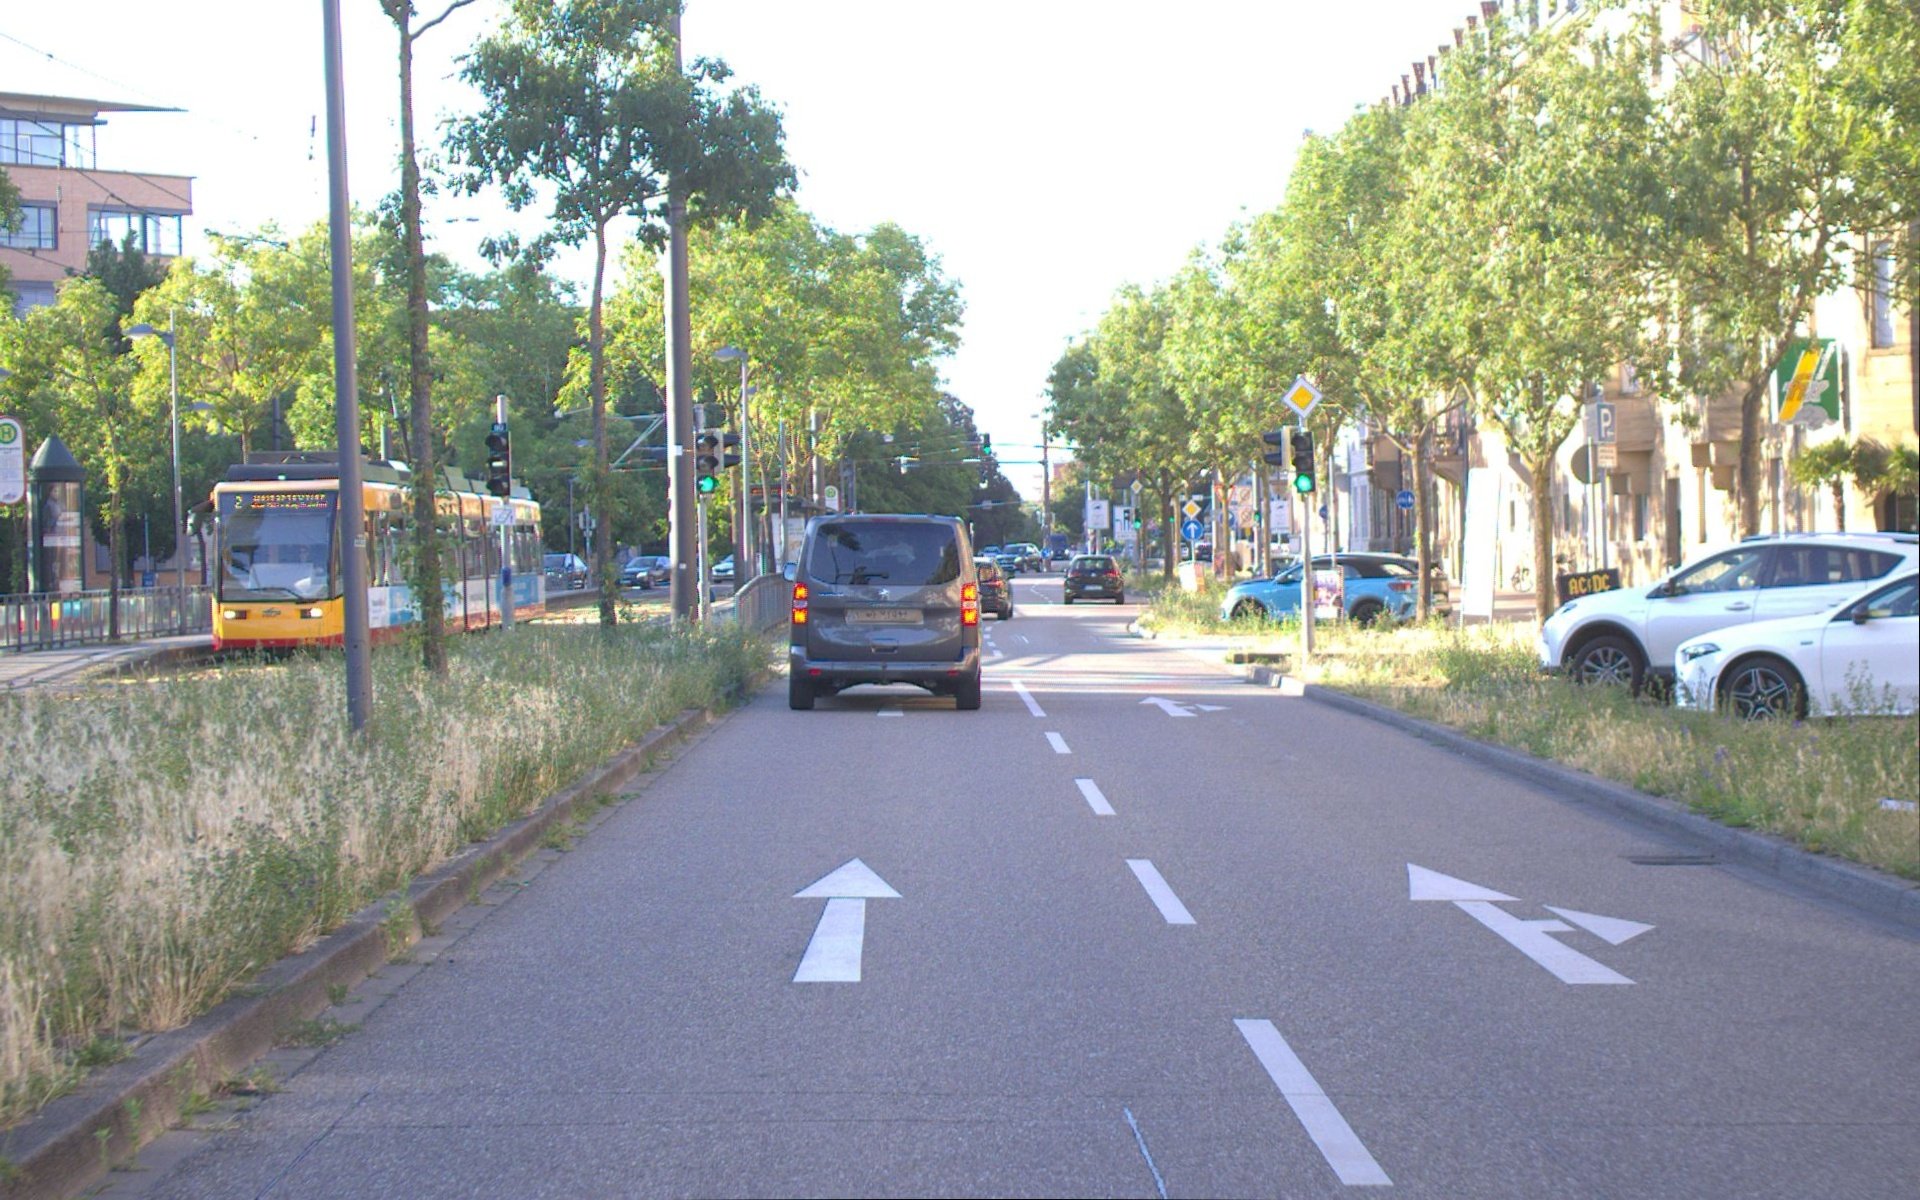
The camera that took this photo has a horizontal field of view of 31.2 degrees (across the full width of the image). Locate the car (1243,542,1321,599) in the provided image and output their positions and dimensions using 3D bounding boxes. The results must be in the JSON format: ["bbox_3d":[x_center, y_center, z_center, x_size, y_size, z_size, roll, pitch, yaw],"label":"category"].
[{"bbox_3d":[8.703,-0.818,93.109,1.704,1.443,4.289,2,1,0],"label":"car"}]

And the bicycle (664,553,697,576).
[{"bbox_3d":[-14.616,-1.857,180.032,1.717,1.138,0.559,-2,1,-42],"label":"bicycle"}]

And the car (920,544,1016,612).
[{"bbox_3d":[0.153,-0.522,78.980,1.993,1.505,4.001,0,1,-3],"label":"car"}]

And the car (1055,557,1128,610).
[{"bbox_3d":[3.881,-0.502,101.832,1.993,1.505,4.000,0,1,0],"label":"car"}]

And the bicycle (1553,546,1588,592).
[{"bbox_3d":[16.007,-0.817,90.184,0.483,1.161,1.746,-6,1,0],"label":"bicycle"}]

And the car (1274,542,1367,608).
[{"bbox_3d":[8.732,-0.636,83.645,1.725,1.507,4.272,2,1,-1],"label":"car"}]

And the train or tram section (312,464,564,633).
[{"bbox_3d":[-11.271,-1.124,75.877,3.431,3.328,13.858,-1,1,0],"label":"train or tram section"}]

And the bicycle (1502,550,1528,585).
[{"bbox_3d":[15.931,-0.937,98.708,0.483,1.002,1.746,-1,1,0],"label":"bicycle"}]

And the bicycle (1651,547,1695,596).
[{"bbox_3d":[16.141,-0.645,77.891,0.572,1.070,1.897,-2,1,0],"label":"bicycle"}]

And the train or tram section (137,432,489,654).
[{"bbox_3d":[-11.168,-0.996,61.382,3.431,3.418,15.028,-1,1,0],"label":"train or tram section"}]

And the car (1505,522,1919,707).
[{"bbox_3d":[7.739,0.107,33.405,4.427,1.685,1.912,0,1,35],"label":"car"}]

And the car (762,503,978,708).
[{"bbox_3d":[-0.830,0.019,34.315,1.993,1.894,4.299,1,1,0],"label":"car"}]

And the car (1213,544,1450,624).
[{"bbox_3d":[7.332,-0.320,68.025,4.281,1.517,1.844,0,1,33],"label":"car"}]

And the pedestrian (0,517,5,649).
[{"bbox_3d":[-15.094,-0.252,52.104,0.934,2.007,0.957,-1,1,0],"label":"pedestrian"}]

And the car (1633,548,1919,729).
[{"bbox_3d":[7.889,0.284,27.384,4.548,1.395,2.027,0,0,31],"label":"car"}]
